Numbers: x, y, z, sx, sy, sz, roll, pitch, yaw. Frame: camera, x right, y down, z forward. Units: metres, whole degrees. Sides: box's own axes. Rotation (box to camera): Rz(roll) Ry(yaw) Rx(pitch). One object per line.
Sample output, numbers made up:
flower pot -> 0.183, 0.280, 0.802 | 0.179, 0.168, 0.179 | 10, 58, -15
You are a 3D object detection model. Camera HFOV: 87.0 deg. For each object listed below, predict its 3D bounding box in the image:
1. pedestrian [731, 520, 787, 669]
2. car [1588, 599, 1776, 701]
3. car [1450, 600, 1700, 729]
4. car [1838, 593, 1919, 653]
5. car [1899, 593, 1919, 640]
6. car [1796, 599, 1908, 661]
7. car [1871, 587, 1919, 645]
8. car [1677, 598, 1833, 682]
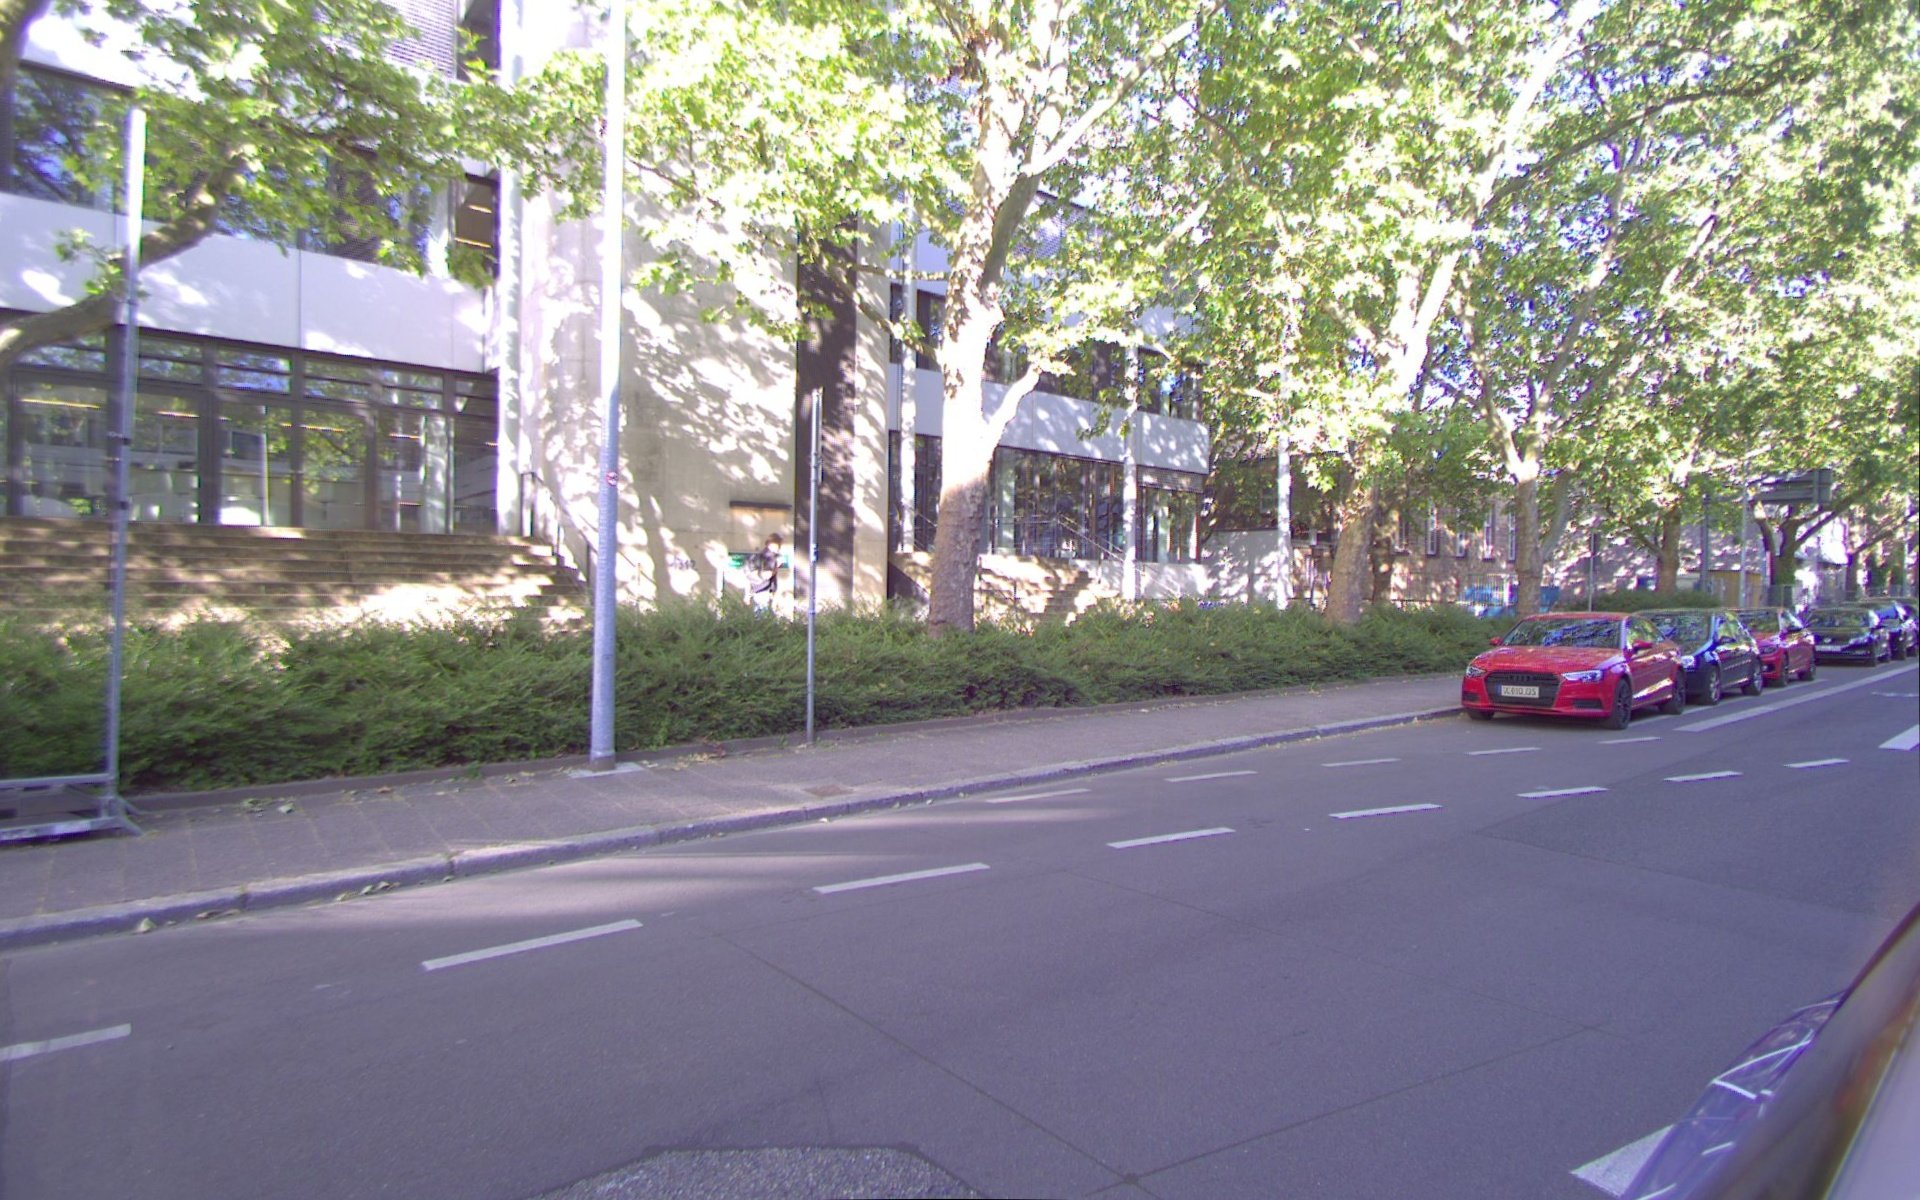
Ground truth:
pedestrian -> -2.813, -0.077, 14.168 | 0.549, 2.039, 0.555 | 0, 0, 38
car -> 11.848, 0.730, 16.545 | 3.632, 1.436, 1.668 | -1, 0, -40
car -> 8.294, 0.736, 13.515 | 3.931, 1.409, 1.792 | -1, 1, -42
car -> 26.627, 0.605, 29.043 | 4.158, 1.598, 1.632 | -1, 0, -41
car -> 35.529, 0.575, 36.783 | 4.497, 1.633, 1.632 | -1, 0, -41
car -> 22.941, 0.713, 25.987 | 3.855, 1.441, 1.691 | -1, 0, -41
car -> 31.165, 0.475, 33.012 | 4.497, 1.814, 1.632 | -1, 0, -41
car -> 15.736, 0.708, 19.972 | 3.854, 1.467, 1.691 | -1, 0, -40
